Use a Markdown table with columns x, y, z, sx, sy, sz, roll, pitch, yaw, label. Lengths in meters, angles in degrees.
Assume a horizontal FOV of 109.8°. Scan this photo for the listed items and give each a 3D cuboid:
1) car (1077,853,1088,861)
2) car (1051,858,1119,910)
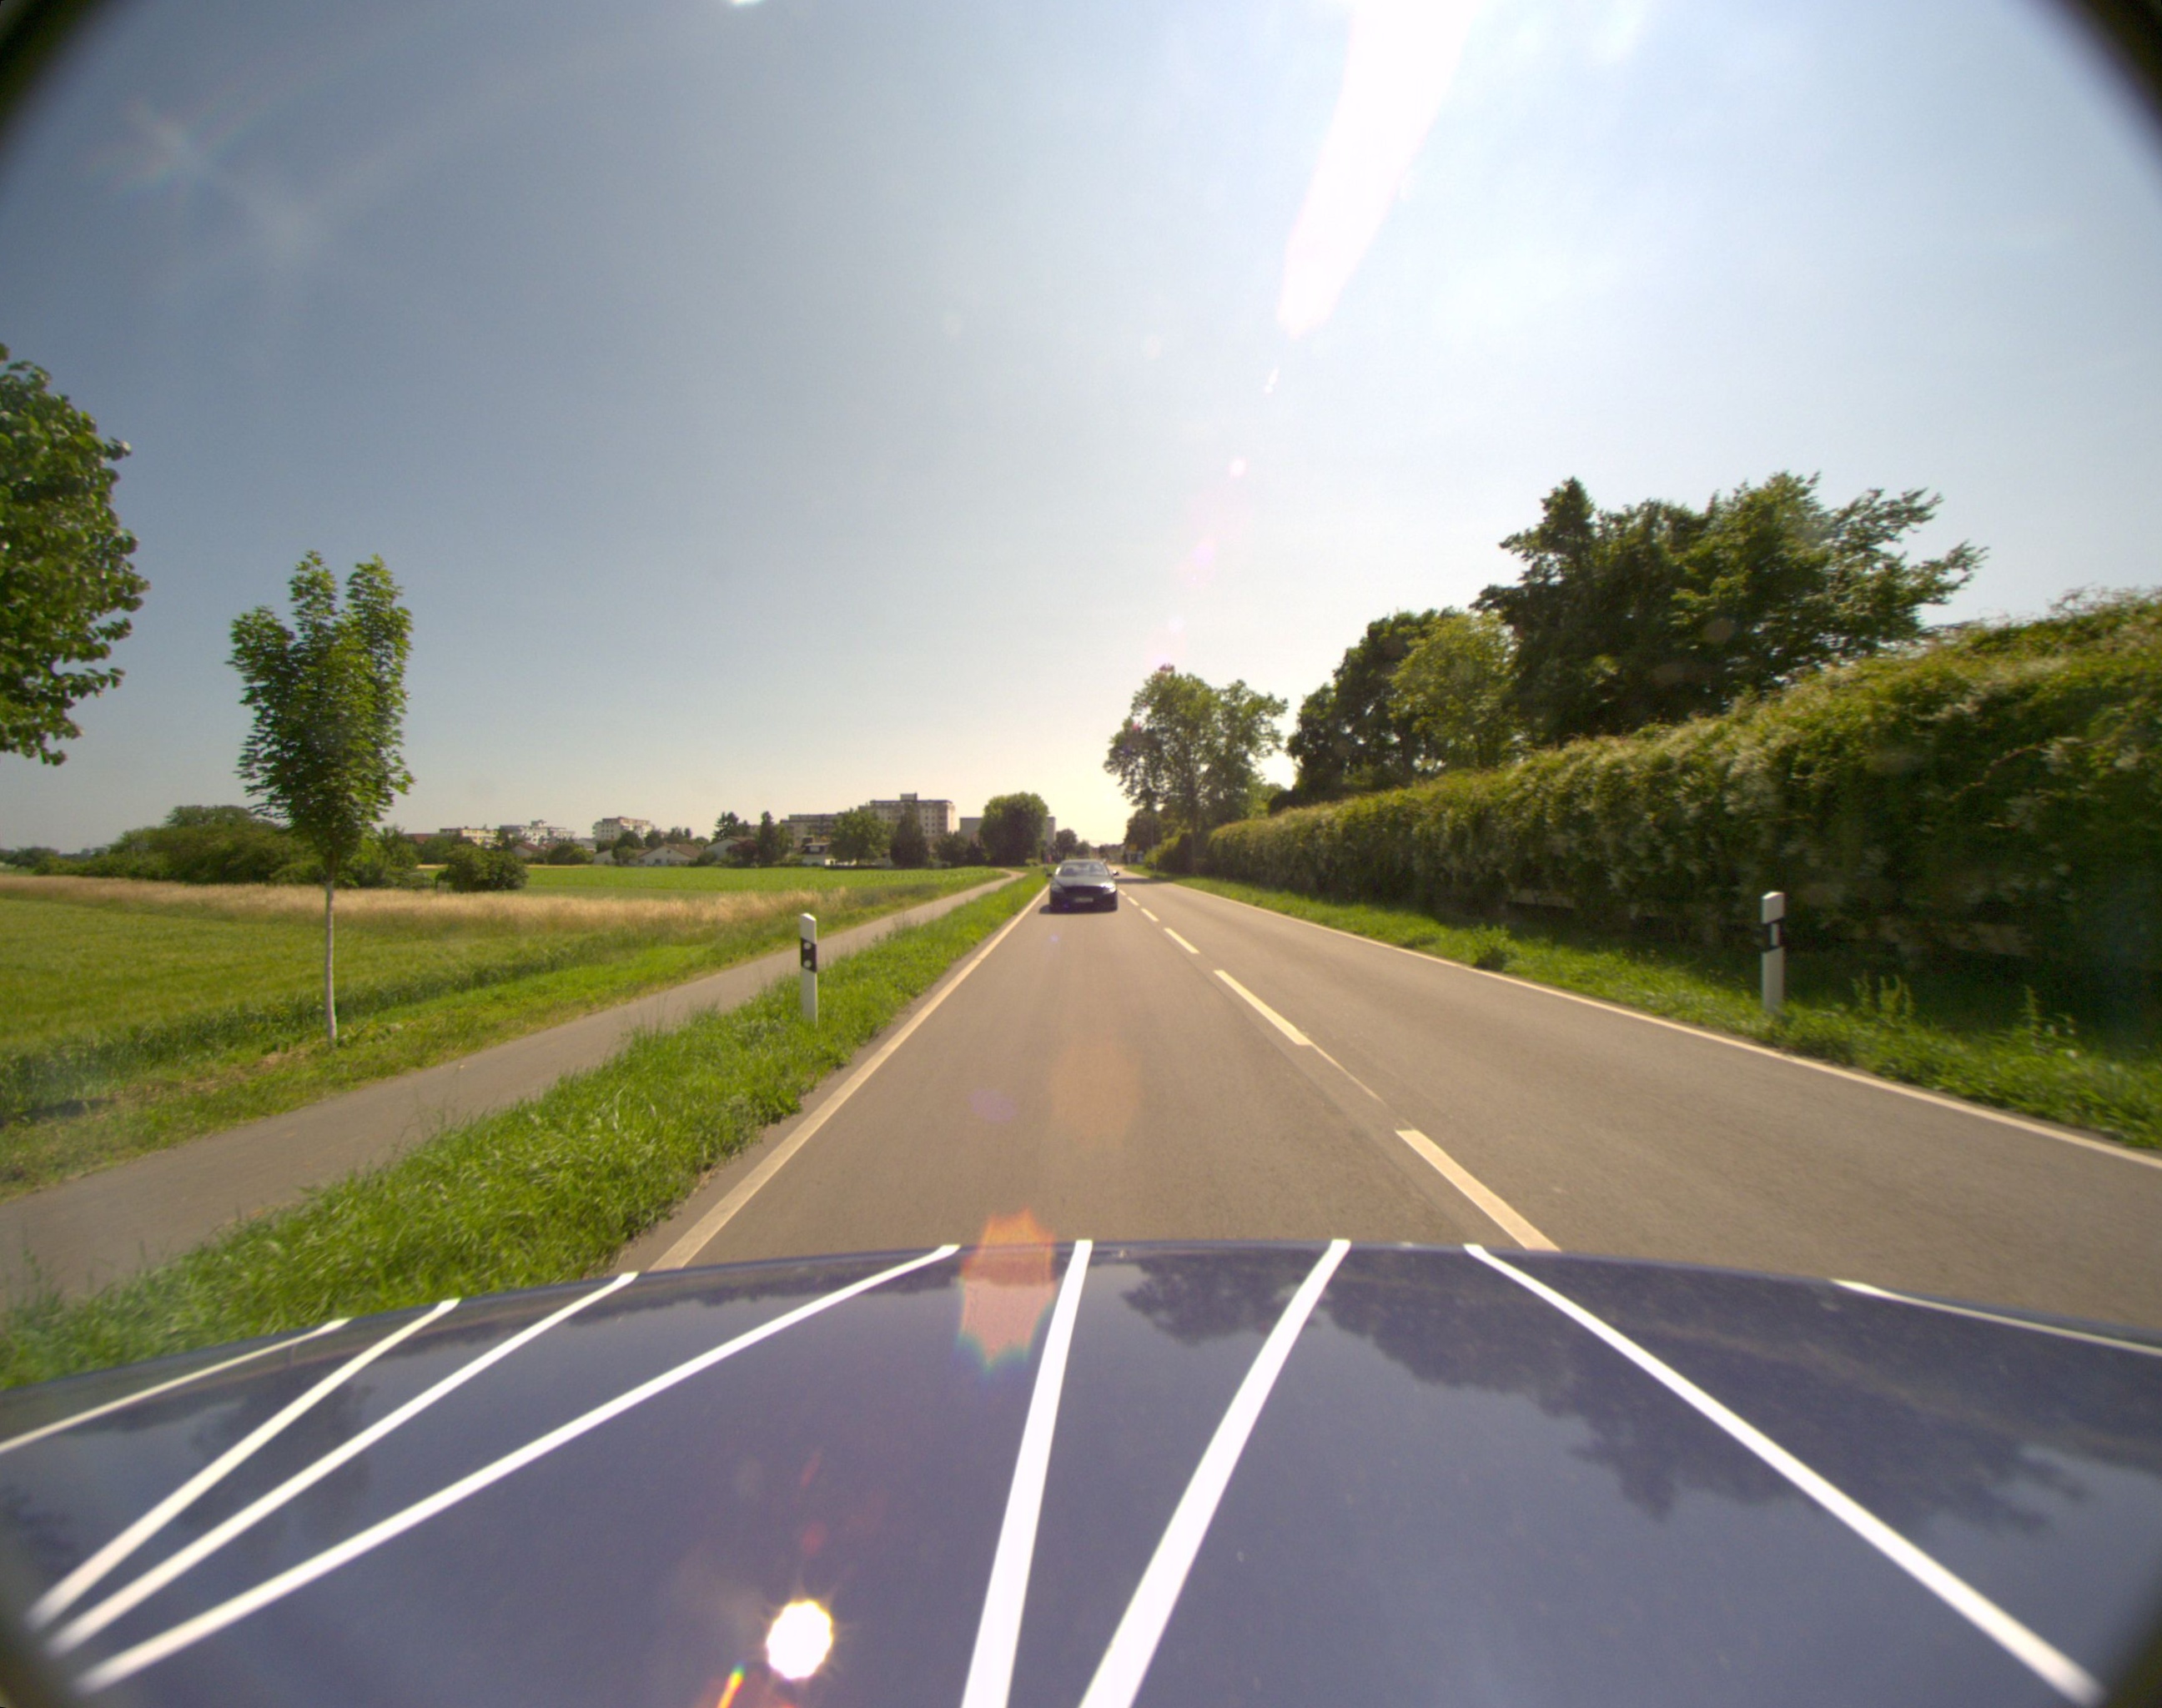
| x | y | z | sx | sy | sz | roll | pitch | yaw | label |
| --- | --- | --- | --- | --- | --- | --- | --- | --- | --- |
| 0.270 | 0.672 | 189.241 | 2.151 | 1.939 | 5.244 | 1 | 0 | -6 | car |
| 0.018 | 0.882 | 24.239 | 1.889 | 1.429 | 4.837 | -2 | 0 | -3 | car |
